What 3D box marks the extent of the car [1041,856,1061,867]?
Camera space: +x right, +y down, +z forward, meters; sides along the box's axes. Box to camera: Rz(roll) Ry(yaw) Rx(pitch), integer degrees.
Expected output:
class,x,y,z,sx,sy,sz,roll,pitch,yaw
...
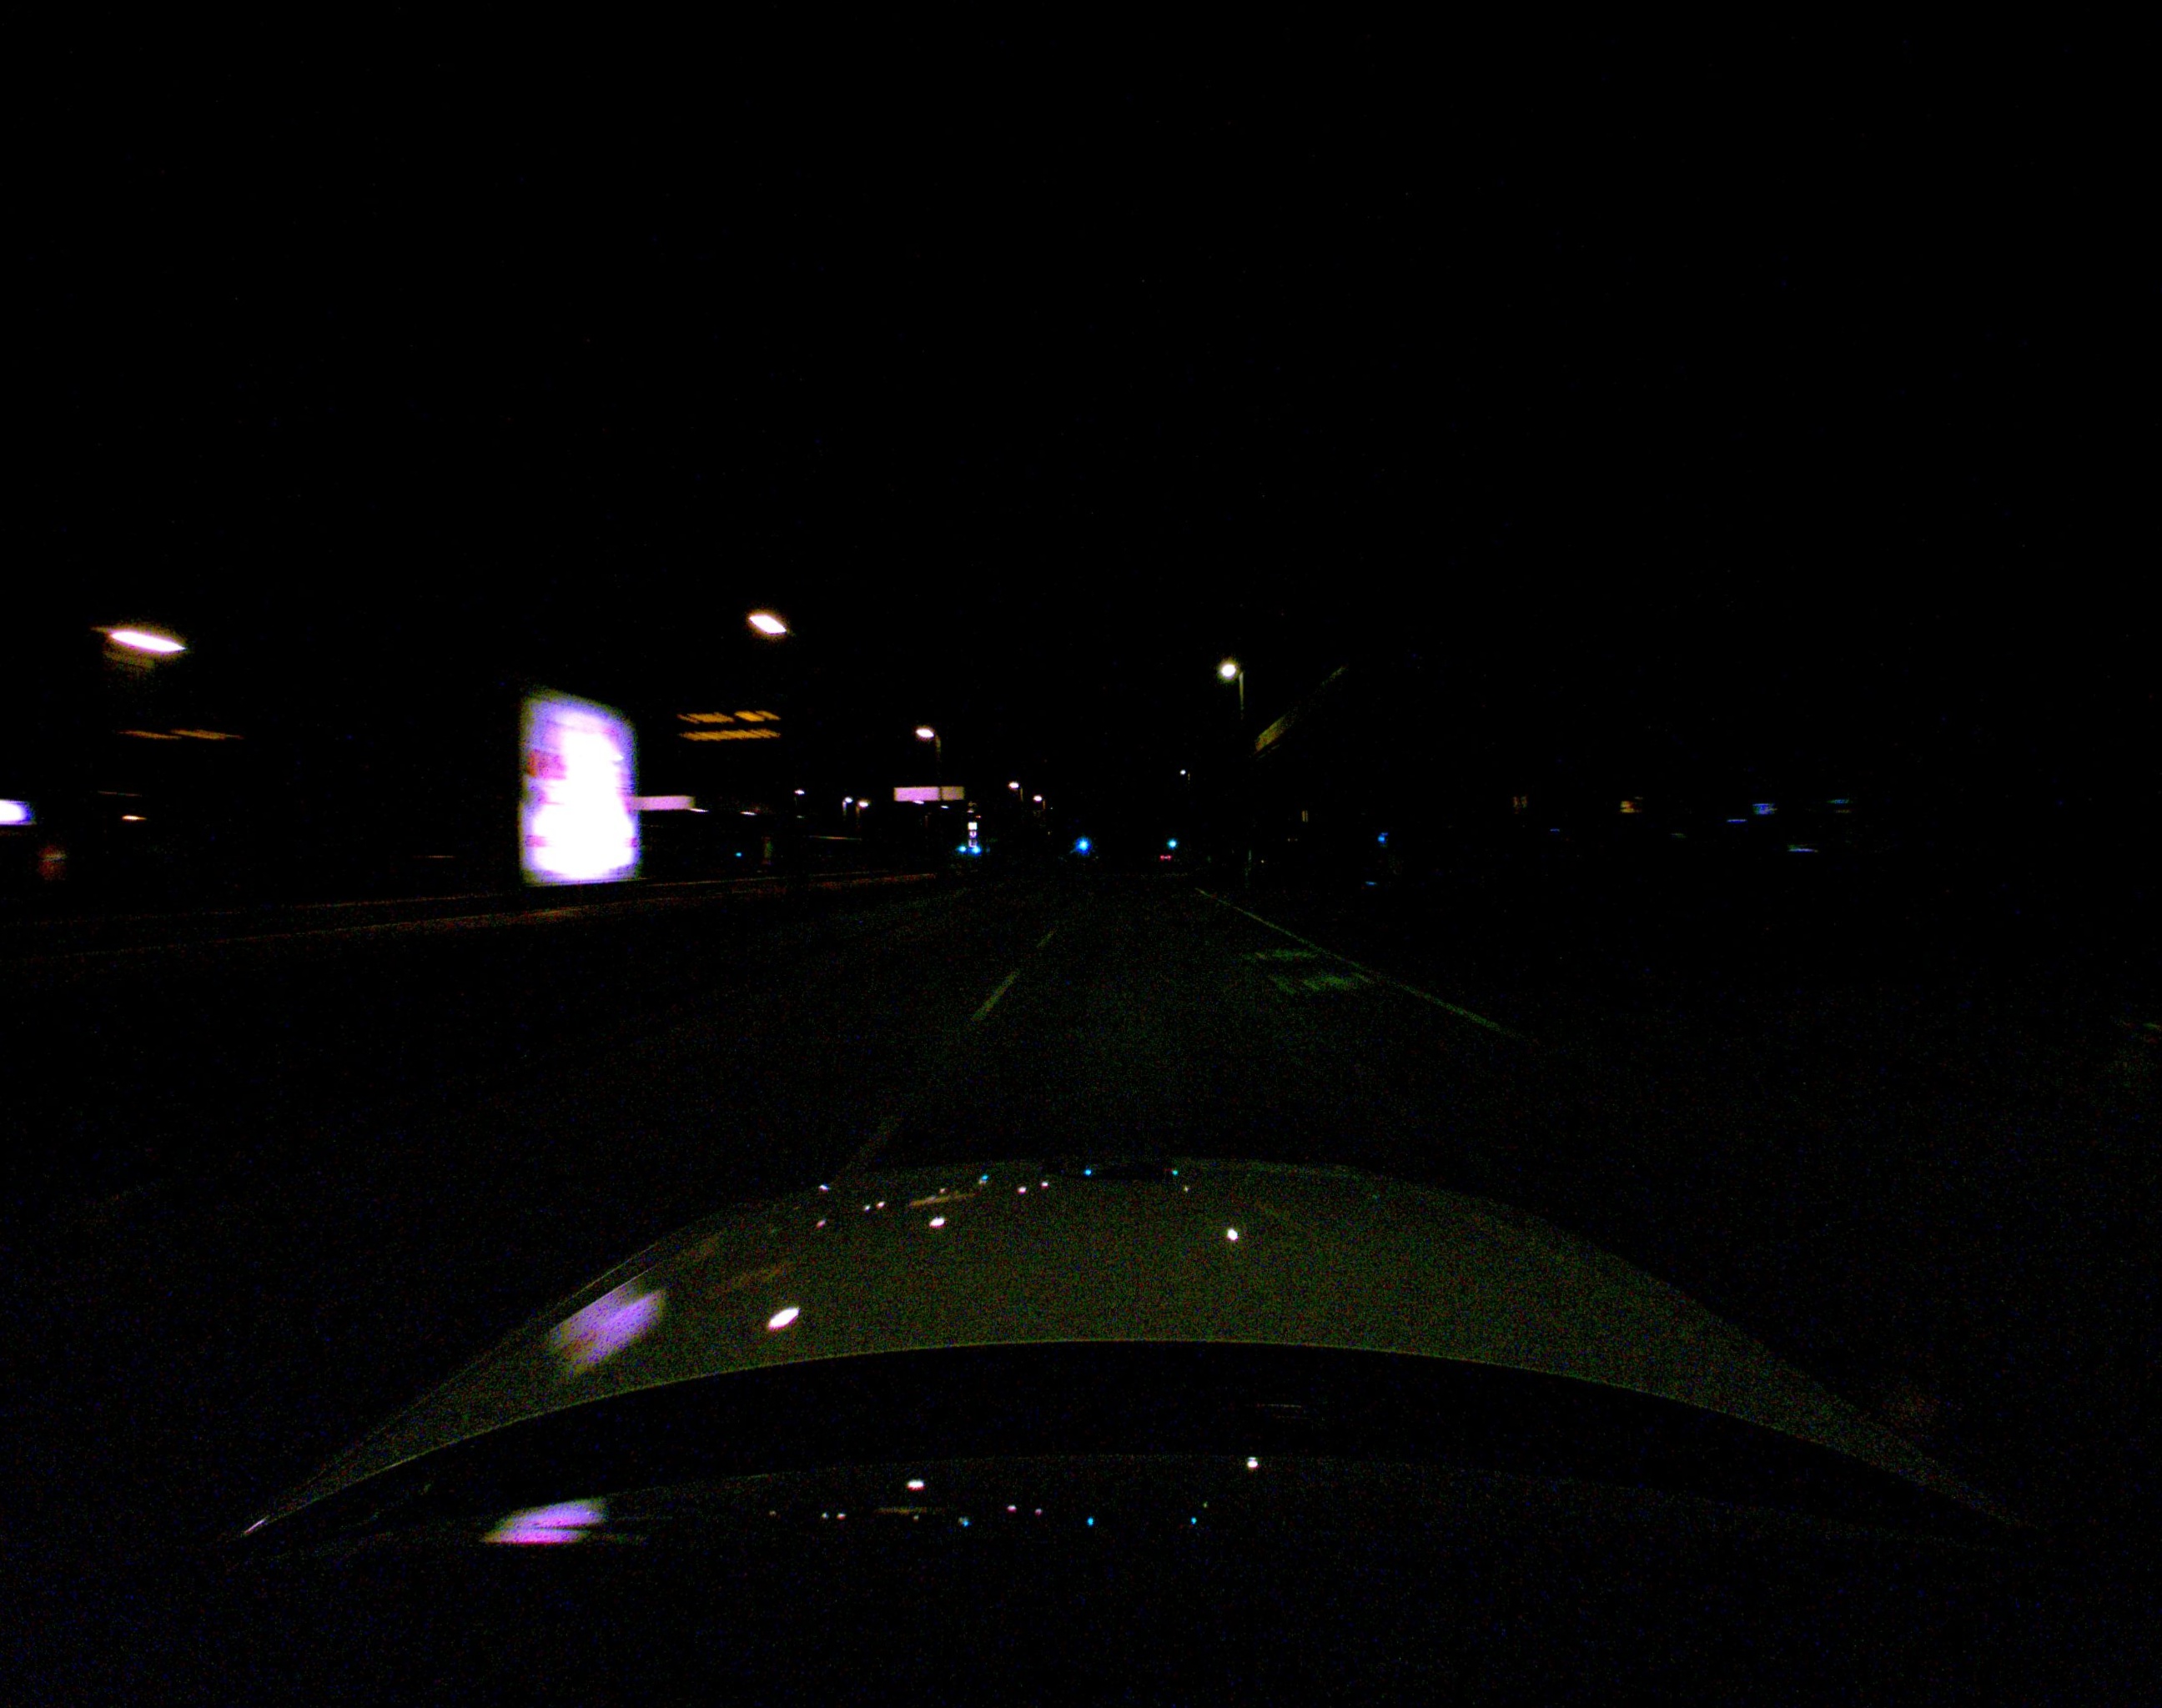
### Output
class,x,y,z,sx,sy,sz,roll,pitch,yaw
car,-4.397,1.080,119.911,1.890,1.522,5.187,-1,0,11

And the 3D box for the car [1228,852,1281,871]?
class,x,y,z,sx,sy,sz,roll,pitch,yaw
car,13.266,0.553,62.420,3.745,1.354,1.862,-2,0,5

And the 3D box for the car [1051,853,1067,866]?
class,x,y,z,sx,sy,sz,roll,pitch,yaw
car,-3.417,0.787,125.931,1.848,1.904,4.888,-1,0,6

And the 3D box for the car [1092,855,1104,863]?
class,x,y,z,sx,sy,sz,roll,pitch,yaw
car,3.646,1.149,173.735,1.982,1.628,4.688,-1,0,8

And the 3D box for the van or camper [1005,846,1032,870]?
class,x,y,z,sx,sy,sz,roll,pitch,yaw
van or camper,-7.523,0.443,99.107,2.262,2.647,5.671,-4,0,4

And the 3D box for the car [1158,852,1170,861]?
class,x,y,z,sx,sy,sz,roll,pitch,yaw
car,15.197,0.509,149.715,2.151,1.583,4.019,-1,0,5

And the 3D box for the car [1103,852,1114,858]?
class,x,y,z,sx,sy,sz,roll,pitch,yaw
car,6.630,0.240,193.551,1.982,1.338,5.444,-1,0,8

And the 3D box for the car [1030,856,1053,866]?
class,x,y,z,sx,sy,sz,roll,pitch,yaw
car,-5.520,0.983,114.494,3.015,1.326,1.535,-1,0,3
